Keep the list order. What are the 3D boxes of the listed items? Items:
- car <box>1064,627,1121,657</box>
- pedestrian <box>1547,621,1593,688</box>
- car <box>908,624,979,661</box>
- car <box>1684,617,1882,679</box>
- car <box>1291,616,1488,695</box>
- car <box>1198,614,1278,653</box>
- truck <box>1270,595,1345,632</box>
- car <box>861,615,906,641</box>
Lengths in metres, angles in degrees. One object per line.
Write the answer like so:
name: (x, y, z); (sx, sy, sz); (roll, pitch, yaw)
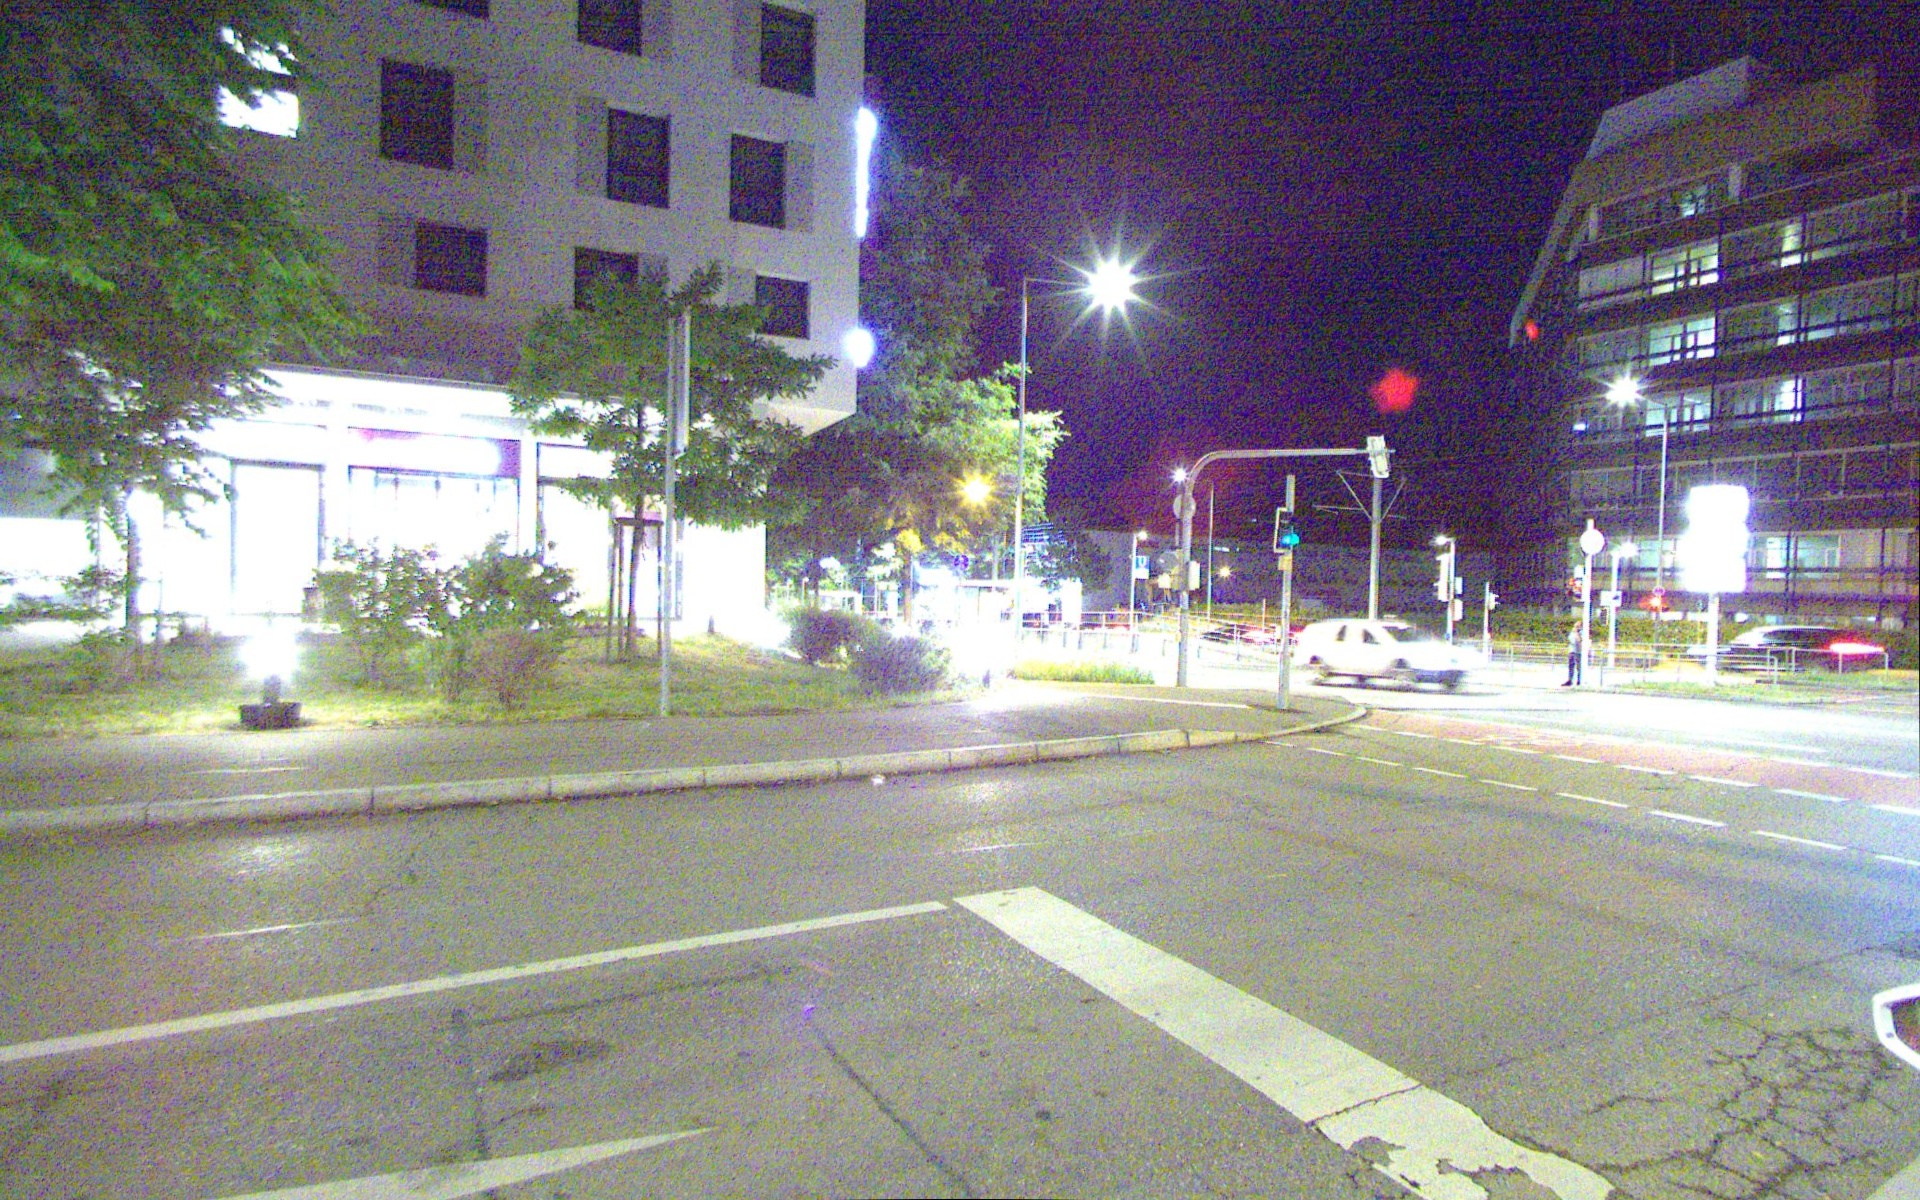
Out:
car: (9.197, 2.911, 70.150); (1.820, 1.837, 4.134); (3, -1, -29)
pedestrian: (15.540, 1.381, 25.600); (0.854, 1.656, 0.665); (2, 1, -34)
car: (-0.855, 2.027, 49.093); (1.787, 1.673, 4.327); (0, -1, -27)
car: (26.698, 1.507, 32.797); (1.974, 1.751, 4.602); (2, 0, -26)
car: (10.262, 1.257, 24.349); (1.850, 1.705, 4.270); (0, -1, -25)
car: (15.535, 1.827, 56.330); (1.974, 2.001, 4.168); (2, 0, -26)
truck: (30.933, 1.185, 89.527); (2.877, 3.129, 5.873); (2, 0, -28)
car: (-5.277, 1.867, 68.758); (1.837, 1.681, 4.436); (0, -1, -23)
